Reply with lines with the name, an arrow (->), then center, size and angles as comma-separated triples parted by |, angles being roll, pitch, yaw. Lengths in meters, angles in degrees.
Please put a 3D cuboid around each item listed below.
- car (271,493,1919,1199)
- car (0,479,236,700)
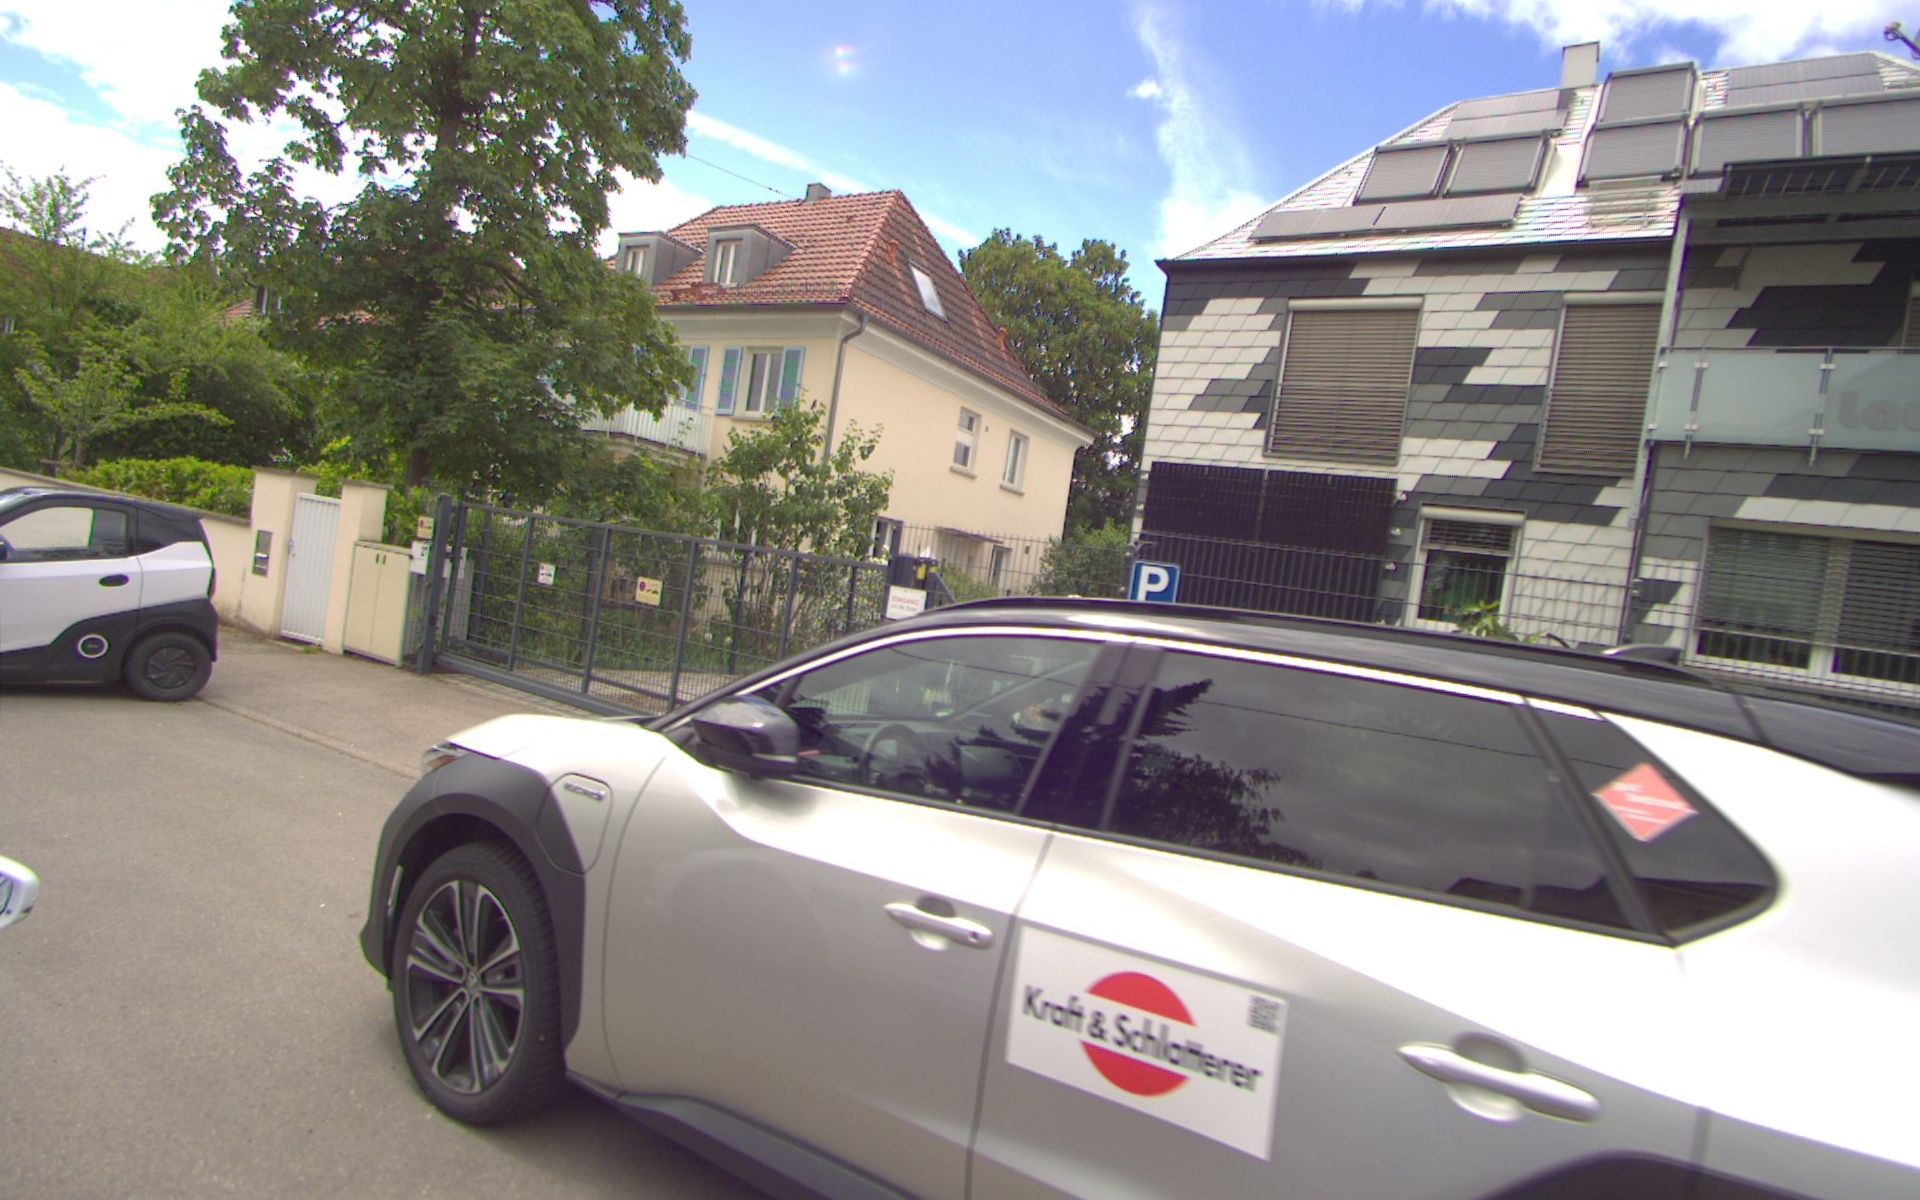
car -> 0.263, 0.785, 2.745 | 4.418, 1.643, 1.832 | 7, -1, 32
car -> -7.150, -0.117, 7.647 | 1.298, 1.543, 2.287 | 8, 1, 37
